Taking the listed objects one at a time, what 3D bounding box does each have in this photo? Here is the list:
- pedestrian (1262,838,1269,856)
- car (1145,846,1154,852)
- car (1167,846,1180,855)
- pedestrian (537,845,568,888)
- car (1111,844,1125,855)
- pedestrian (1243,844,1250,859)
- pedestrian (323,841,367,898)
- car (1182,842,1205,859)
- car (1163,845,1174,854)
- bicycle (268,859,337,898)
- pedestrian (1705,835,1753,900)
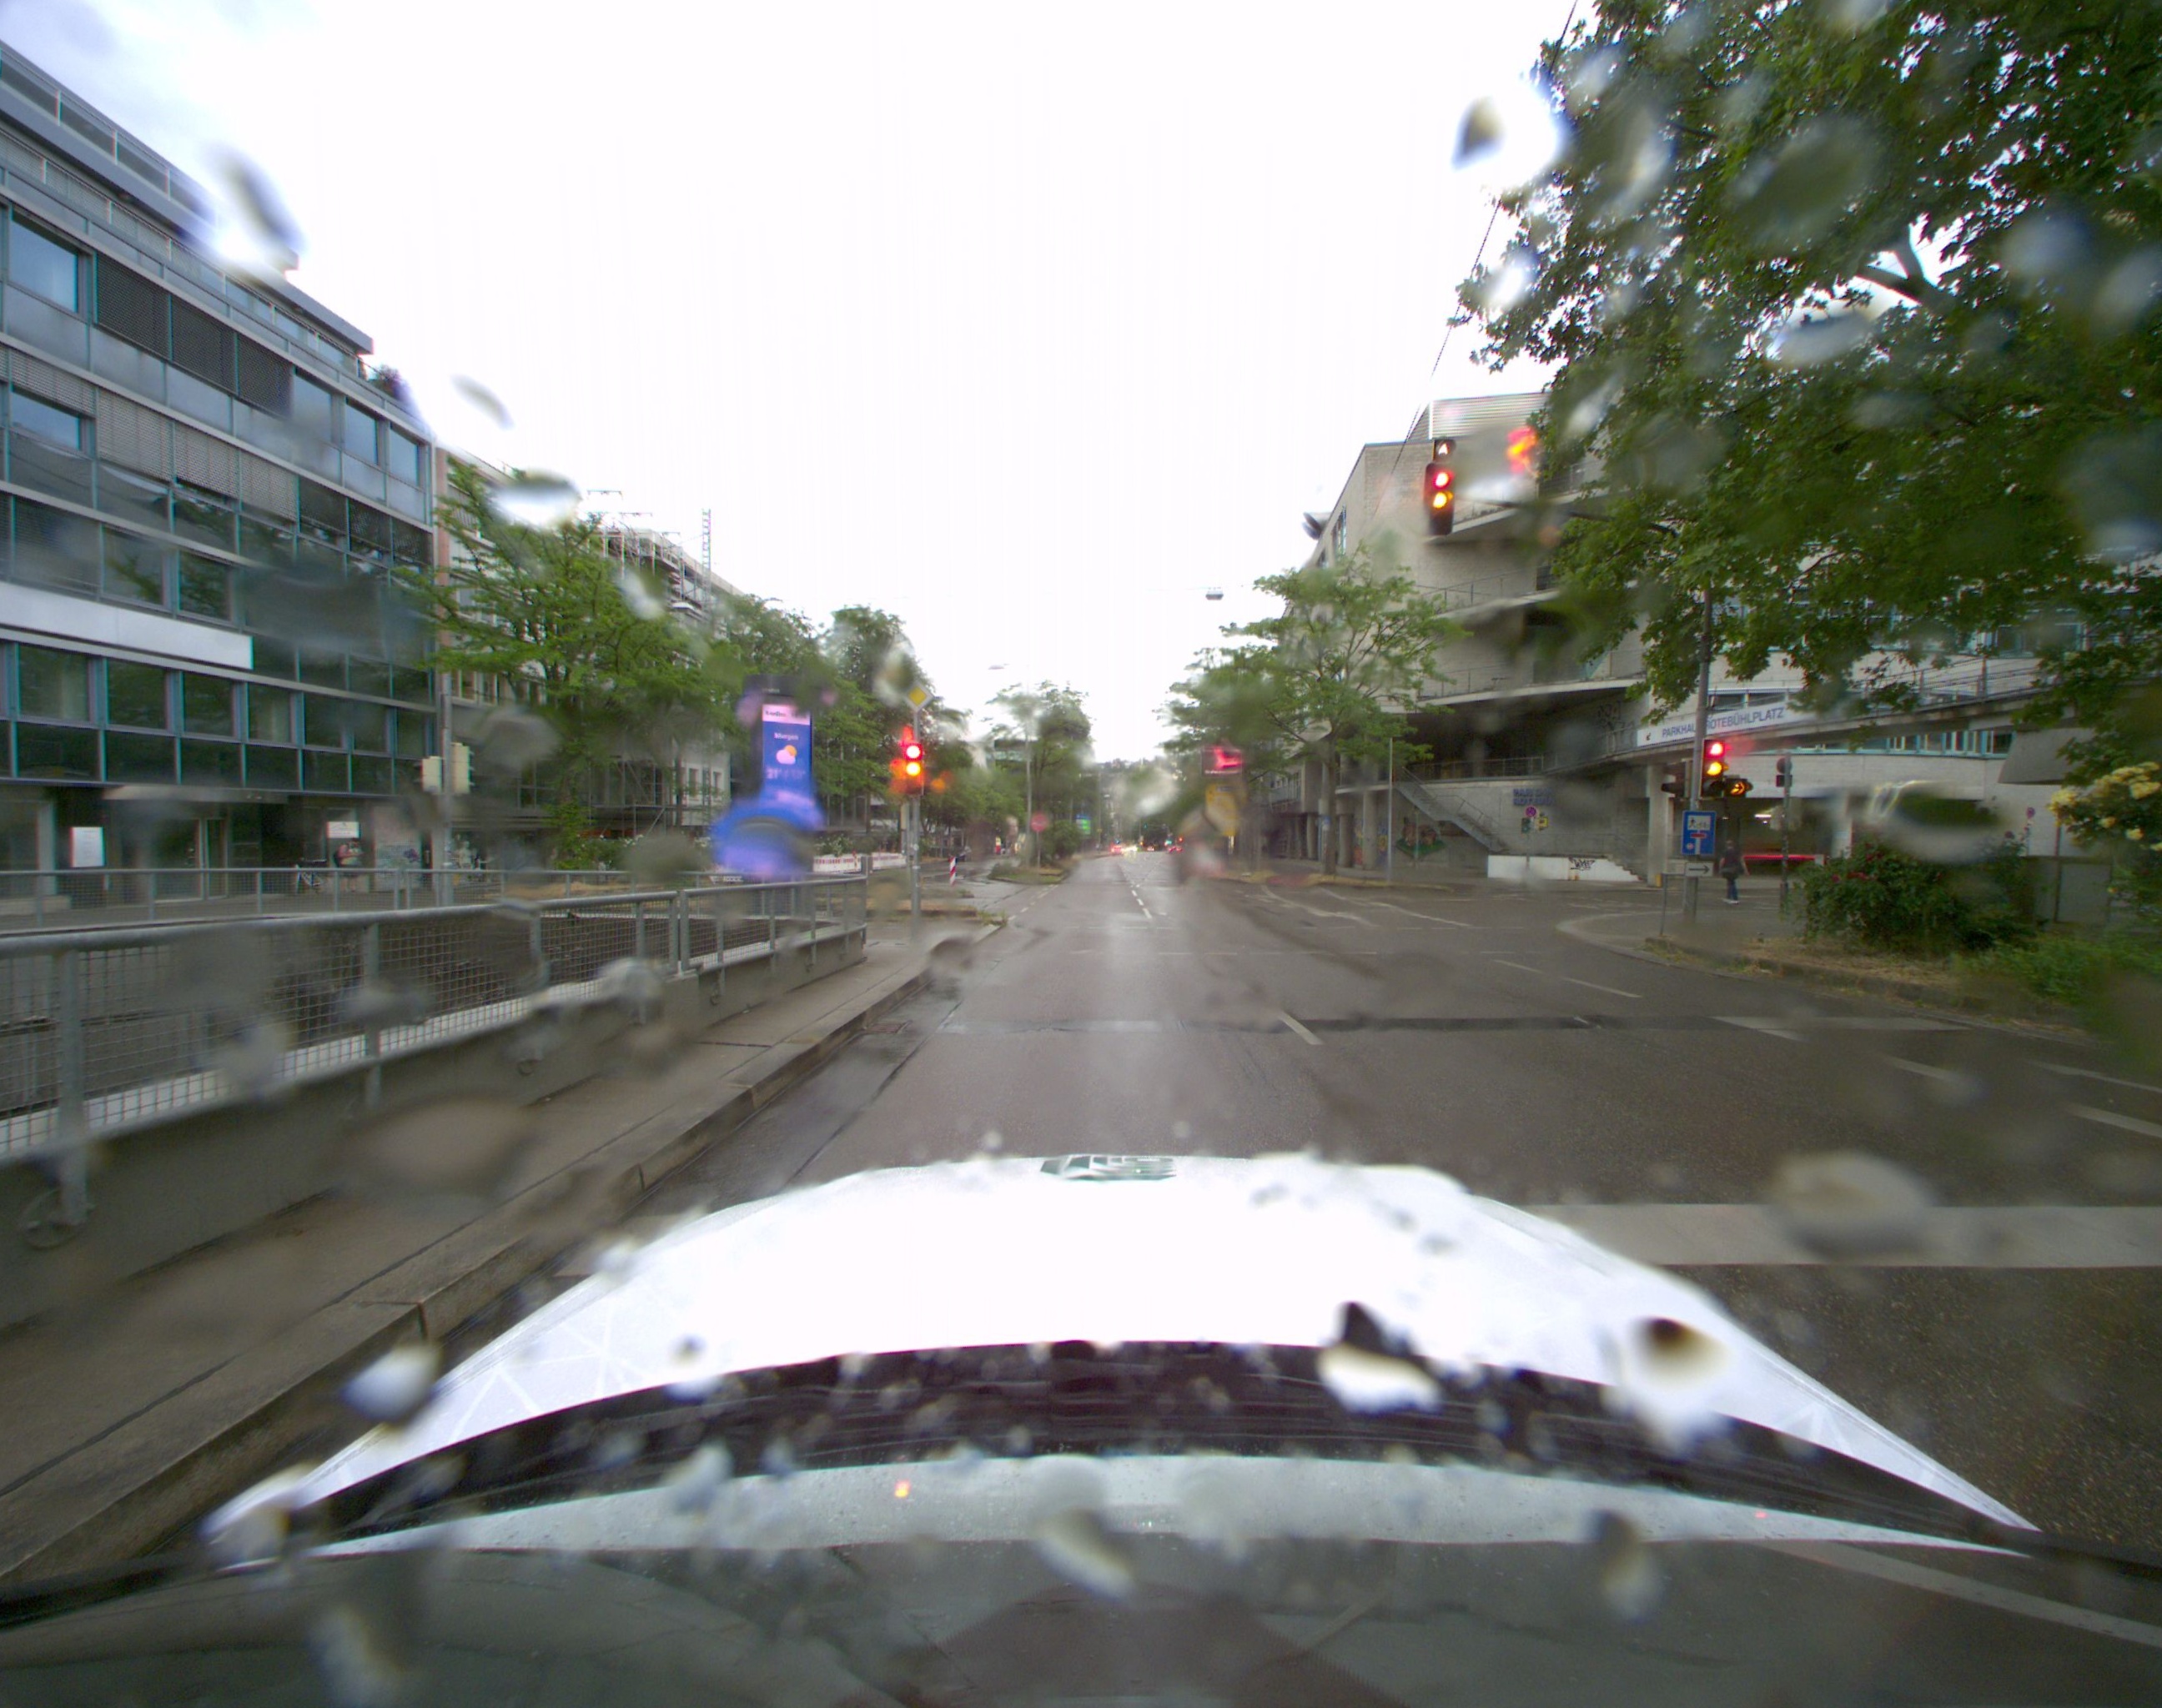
[{"bbox_3d":[19.981,-0.779,88.231,0.770,1.920,0.705,-1,-1,11],"label":"pedestrian"},{"bbox_3d":[19.854,-1.536,235.651,1.989,1.758,3.995,1,0,-4],"label":"car"},{"bbox_3d":[17.627,-0.638,155.435,1.986,1.723,4.001,0,-1,1],"label":"car"},{"bbox_3d":[-21.904,0.505,33.779,0.691,1.741,0.876,1,0,-1],"label":"pedestrian"},{"bbox_3d":[5.643,-0.621,124.698,1.819,1.640,4.308,1,0,6],"label":"car"},{"bbox_3d":[21.945,-0.366,108.076,0.772,1.920,0.703,0,-1,1],"label":"pedestrian"},{"bbox_3d":[-22.811,0.480,25.249,0.694,1.741,0.694,1,0,-4],"label":"pedestrian"},{"bbox_3d":[11.533,-0.346,83.356,2.324,1.691,4.010,0,0,9],"label":"car"},{"bbox_3d":[17.857,-0.879,166.656,1.986,1.736,4.001,0,-1,2],"label":"car"},{"bbox_3d":[-22.957,0.695,24.049,0.444,1.085,1.567,0,0,6],"label":"bicycle"},{"bbox_3d":[19.278,0.384,24.245,0.843,1.910,0.758,0,0,1],"label":"pedestrian"}]
